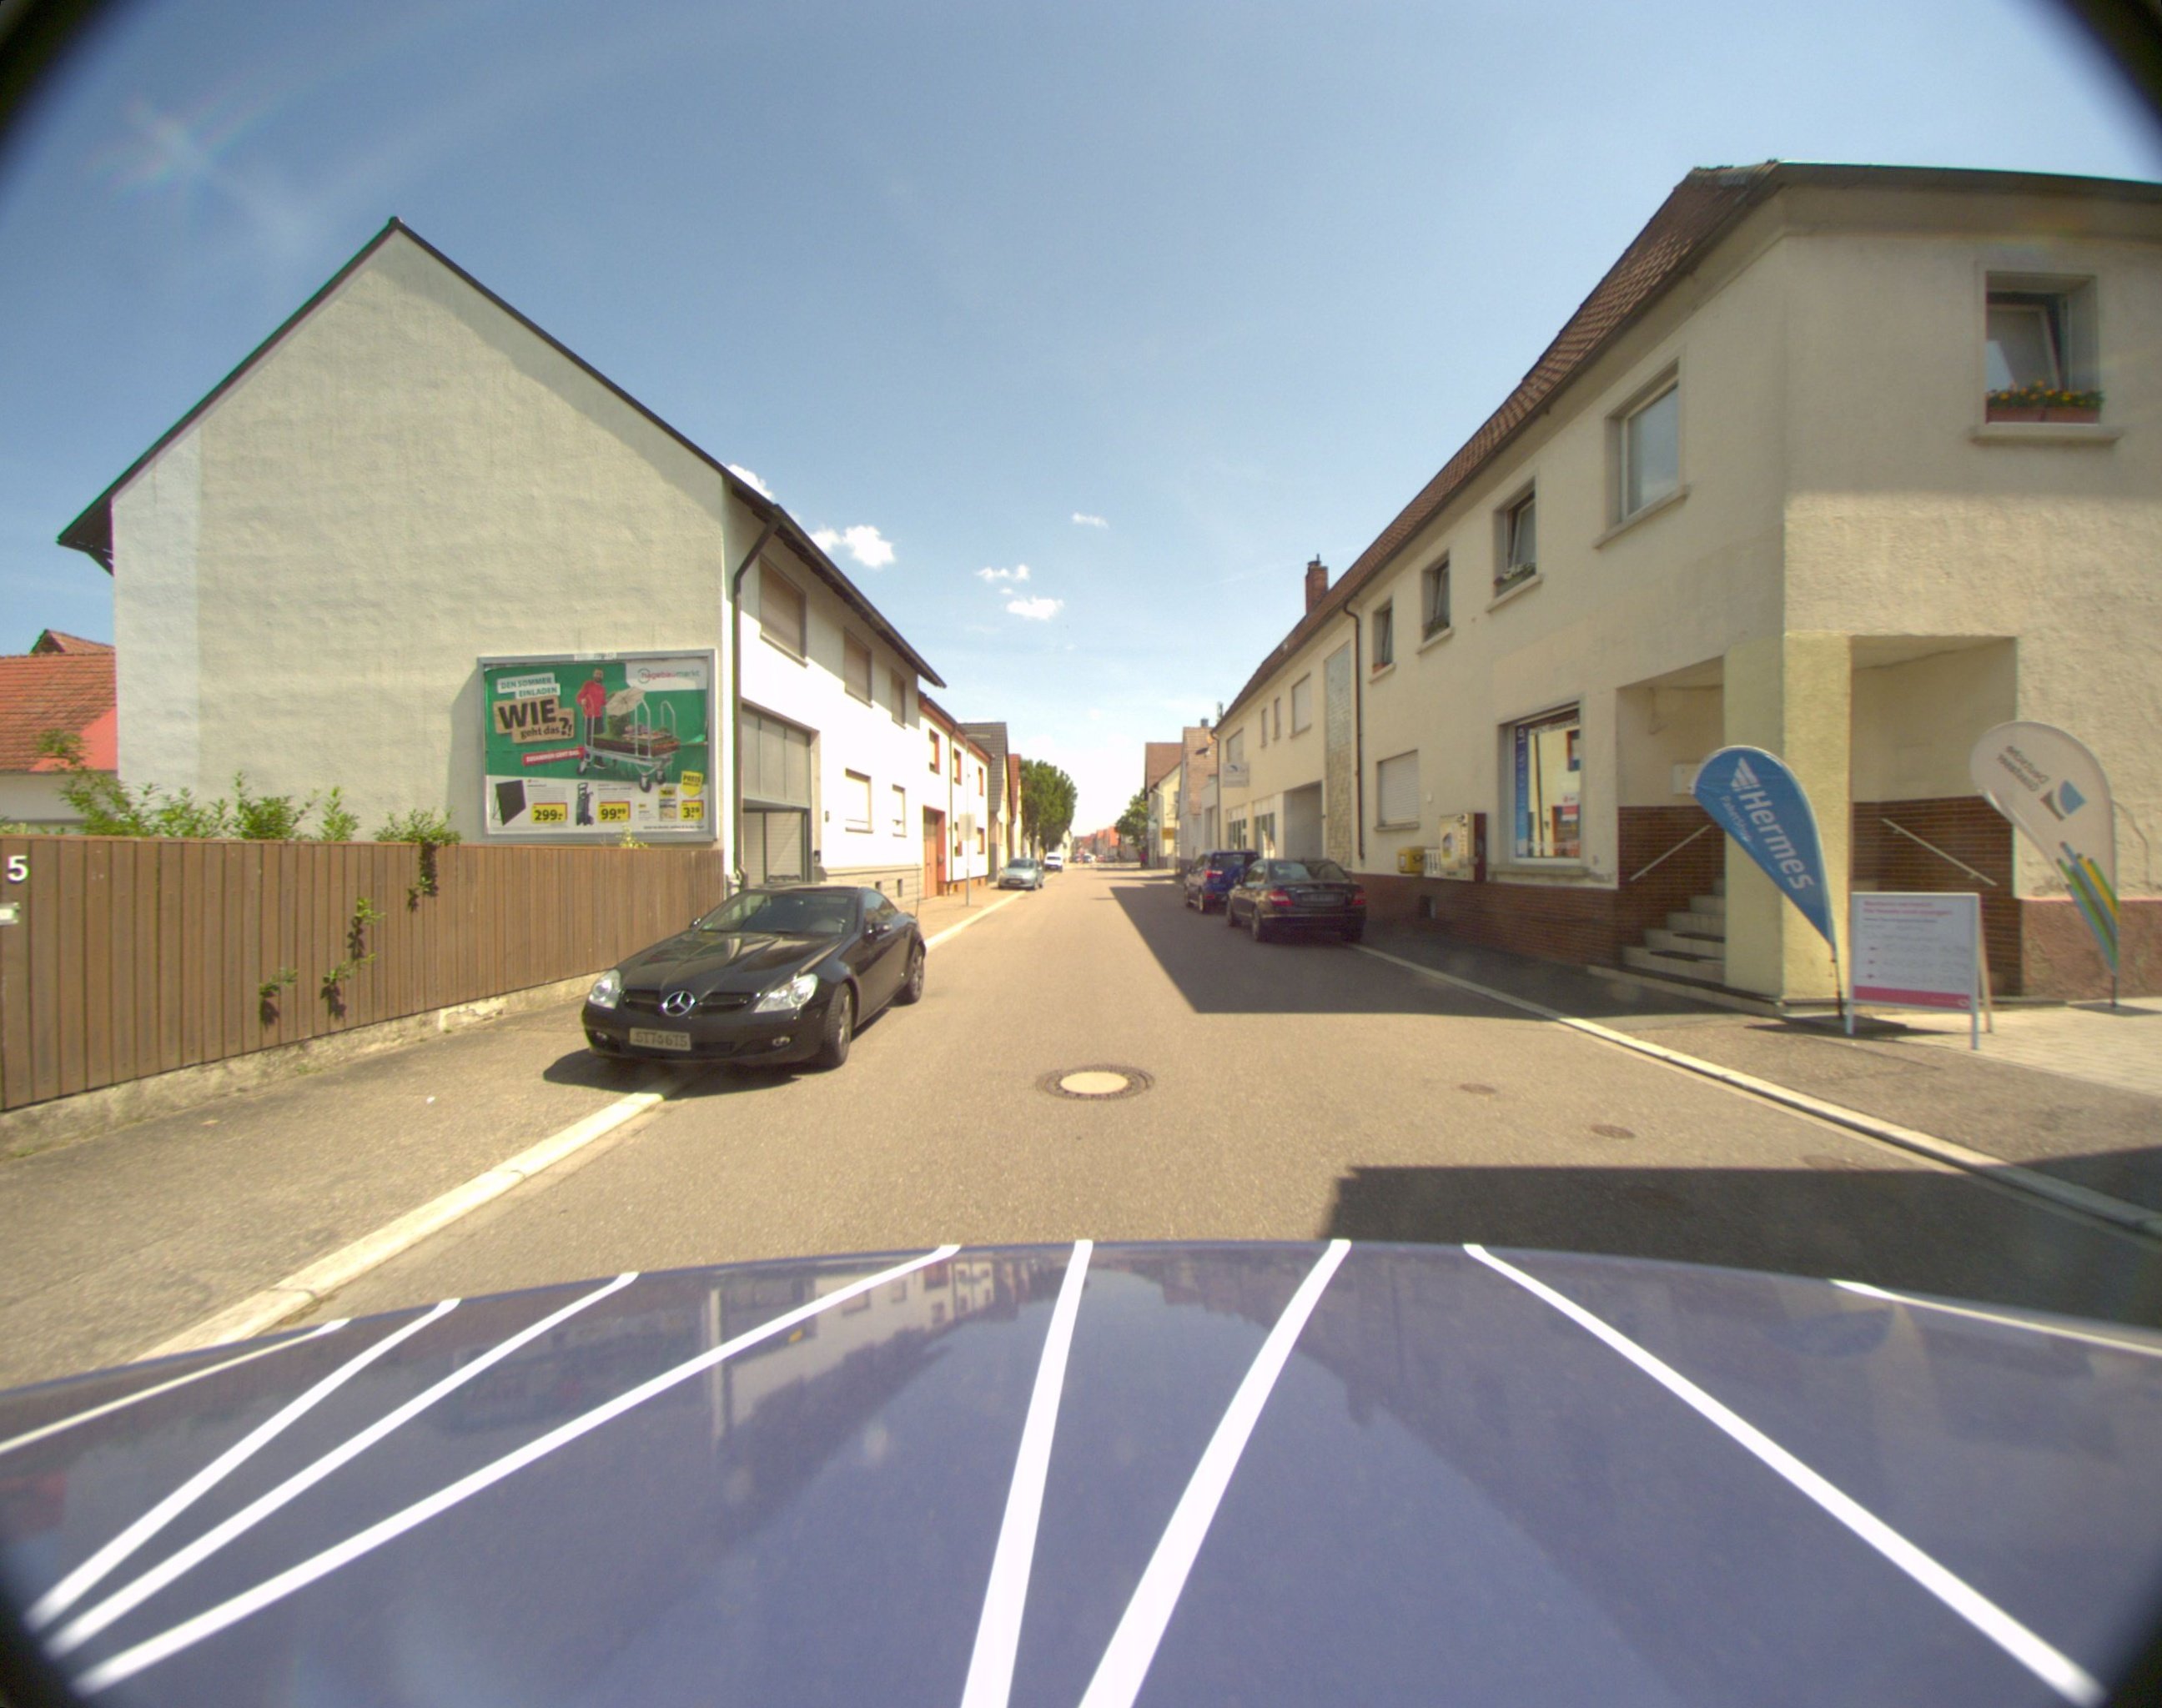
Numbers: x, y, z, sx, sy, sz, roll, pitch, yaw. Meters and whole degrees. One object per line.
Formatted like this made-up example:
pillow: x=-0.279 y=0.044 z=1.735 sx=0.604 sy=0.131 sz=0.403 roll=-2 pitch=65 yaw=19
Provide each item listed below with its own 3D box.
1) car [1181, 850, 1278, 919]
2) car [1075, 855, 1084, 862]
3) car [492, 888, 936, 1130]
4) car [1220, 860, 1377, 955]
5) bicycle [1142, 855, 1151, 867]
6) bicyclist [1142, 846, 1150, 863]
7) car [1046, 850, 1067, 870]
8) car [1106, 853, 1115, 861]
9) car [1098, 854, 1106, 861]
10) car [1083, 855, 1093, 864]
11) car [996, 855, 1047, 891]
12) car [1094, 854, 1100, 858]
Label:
car: x=3.862 y=0.730 z=20.447 sx=1.721 sy=1.630 sz=4.148 roll=1 pitch=0 yaw=-1
car: x=-0.253 y=1.074 z=168.144 sx=1.848 sy=1.385 sz=4.169 roll=-1 pitch=-2 yaw=-2
car: x=-2.654 y=1.049 z=6.740 sx=1.820 sy=1.268 sz=4.146 roll=-1 pitch=0 yaw=1
car: x=3.820 y=0.867 z=14.121 sx=1.702 sy=1.403 sz=4.390 roll=-1 pitch=0 yaw=1
bicycle: x=6.132 y=0.648 z=71.329 sx=0.744 sy=1.041 sz=1.940 roll=-1 pitch=0 yaw=4
bicyclist: x=6.120 y=0.061 z=71.342 sx=0.748 sy=1.627 sz=0.956 roll=-1 pitch=1 yaw=4
car: x=-2.246 y=0.522 z=71.700 sx=1.692 sy=1.832 sz=4.764 roll=2 pitch=0 yaw=1
car: x=5.896 y=0.643 z=150.529 sx=1.726 sy=1.385 sz=4.170 roll=-1 pitch=-2 yaw=2
car: x=4.414 y=0.712 z=160.471 sx=1.598 sy=1.385 sz=4.168 roll=-2 pitch=0 yaw=1
car: x=1.271 y=0.967 z=132.739 sx=1.598 sy=1.533 sz=4.201 roll=-2 pitch=1 yaw=3
car: x=-2.692 y=0.827 z=35.091 sx=1.725 sy=1.473 sz=3.750 roll=3 pitch=1 yaw=5
car: x=5.073 y=0.629 z=242.684 sx=1.726 sy=1.385 sz=4.170 roll=-1 pitch=-2 yaw=2
